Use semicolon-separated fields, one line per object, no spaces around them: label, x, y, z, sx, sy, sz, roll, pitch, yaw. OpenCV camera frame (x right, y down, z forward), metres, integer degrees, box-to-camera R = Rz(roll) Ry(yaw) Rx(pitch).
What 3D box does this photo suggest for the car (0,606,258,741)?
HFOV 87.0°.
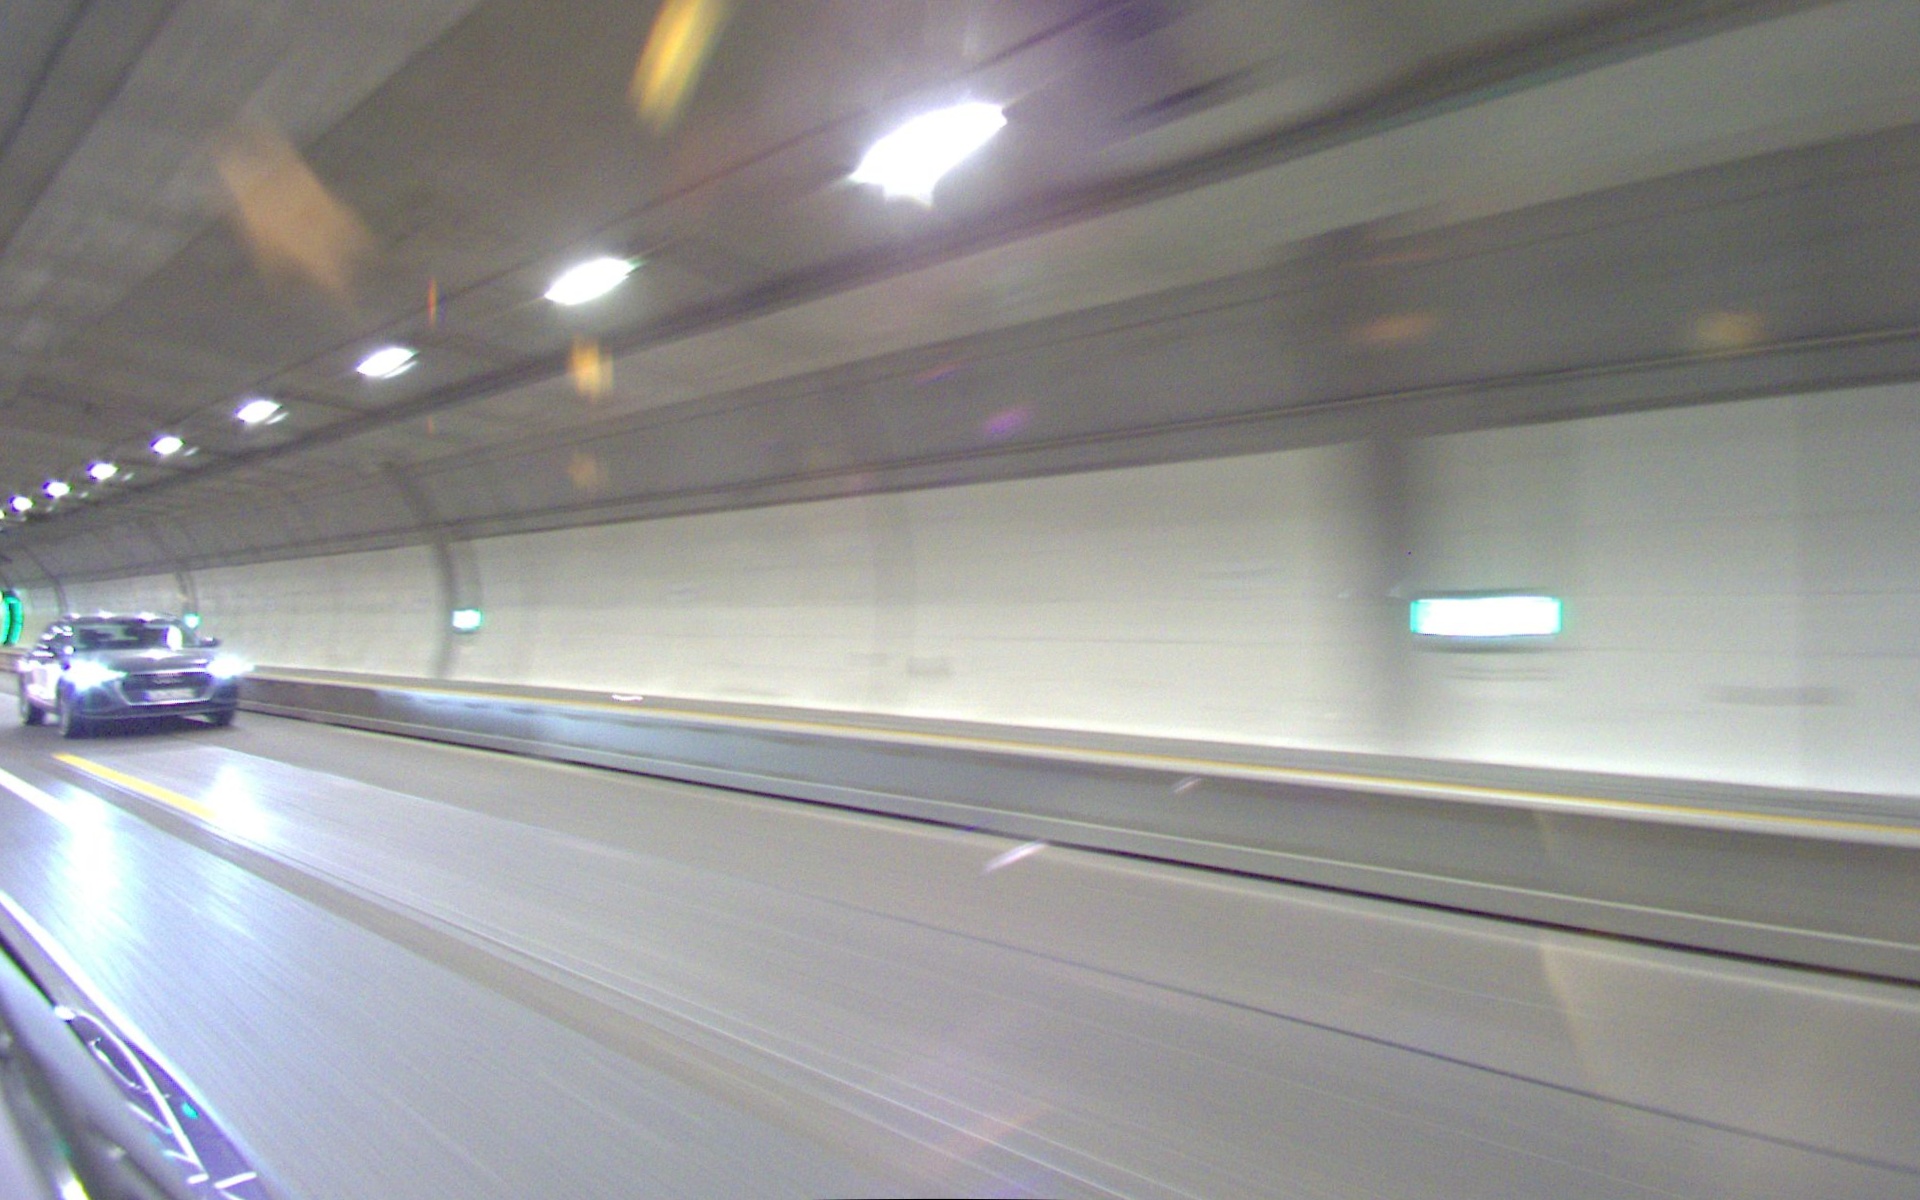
car;-11.794;0.898;14.174;4.737;1.552;1.974;-1;0;39
